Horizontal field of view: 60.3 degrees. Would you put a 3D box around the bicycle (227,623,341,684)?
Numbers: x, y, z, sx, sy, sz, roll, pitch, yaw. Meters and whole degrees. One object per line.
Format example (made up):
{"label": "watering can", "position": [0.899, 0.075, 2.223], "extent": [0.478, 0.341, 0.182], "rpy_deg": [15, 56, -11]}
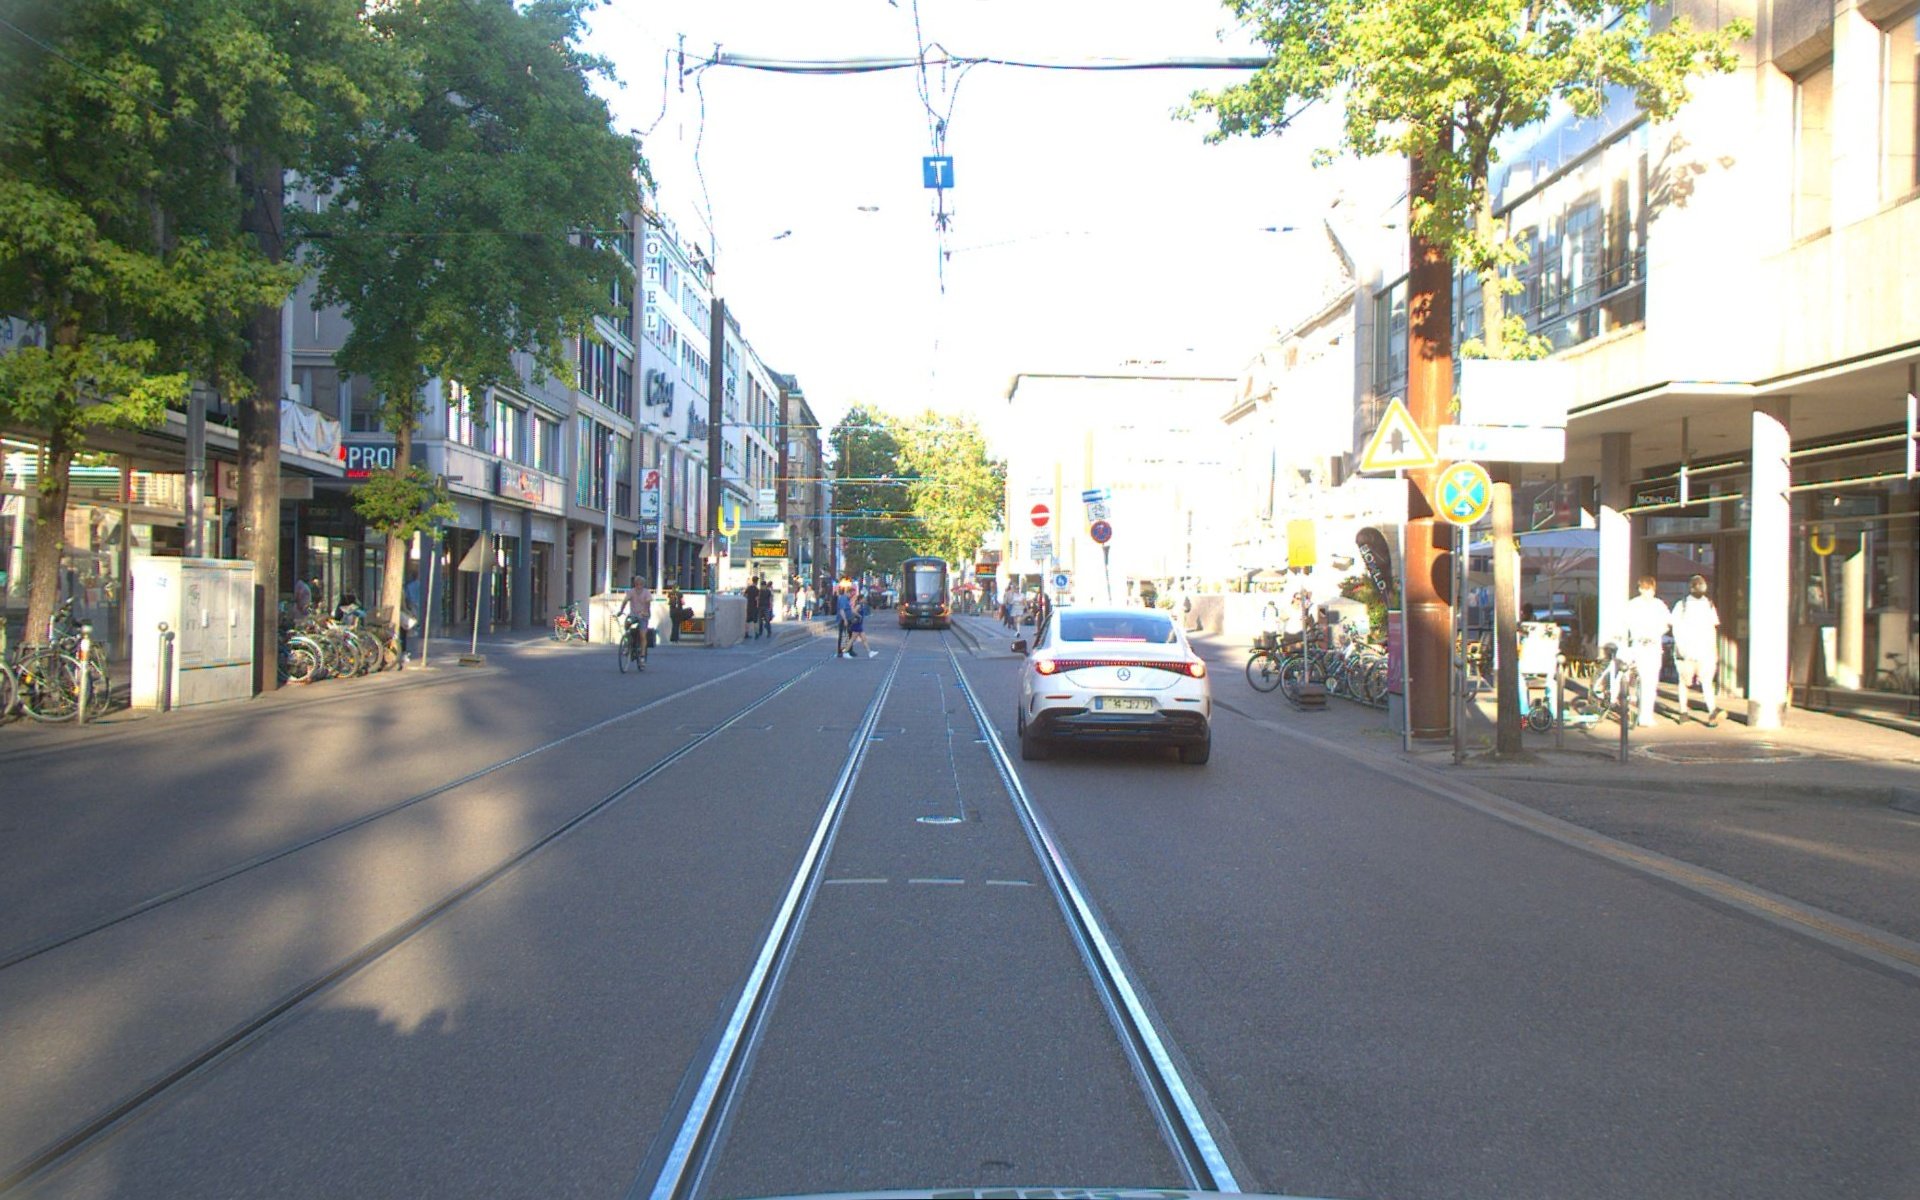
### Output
{"label": "bicycle", "position": [-9.628, 0.757, 23.572], "extent": [1.462, 0.797, 0.344], "rpy_deg": [2, 0, 0]}

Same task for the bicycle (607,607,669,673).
{"label": "bicycle", "position": [-6.118, 0.736, 31.568], "extent": [0.784, 1.162, 2.256], "rpy_deg": [2, 0, -3]}

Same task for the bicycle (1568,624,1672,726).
{"label": "bicycle", "position": [8.094, 0.891, 20.357], "extent": [0.553, 1.147, 1.930], "rpy_deg": [-1, 0, 2]}

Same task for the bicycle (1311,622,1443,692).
{"label": "bicycle", "position": [6.831, 0.922, 27.117], "extent": [2.078, 1.115, 0.607], "rpy_deg": [0, 0, -14]}

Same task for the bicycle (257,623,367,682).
{"label": "bicycle", "position": [-9.514, 0.764, 24.298], "extent": [1.462, 0.797, 0.344], "rpy_deg": [2, 0, 0]}

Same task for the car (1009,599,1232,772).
{"label": "car", "position": [1.495, 0.764, 16.851], "extent": [1.819, 1.481, 4.175], "rpy_deg": [2, 0, 0]}

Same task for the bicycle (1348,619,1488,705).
{"label": "bicycle", "position": [6.634, 0.881, 23.963], "extent": [1.875, 1.177, 0.608], "rpy_deg": [-1, 0, -13]}

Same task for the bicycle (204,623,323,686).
{"label": "bicycle", "position": [-9.621, 0.752, 22.858], "extent": [1.462, 0.797, 0.344], "rpy_deg": [2, 0, 0]}

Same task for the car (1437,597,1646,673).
{"label": "car", "position": [11.947, 0.709, 34.104], "extent": [3.728, 1.499, 1.647], "rpy_deg": [0, 0, -7]}

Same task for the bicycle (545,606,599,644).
{"label": "bicycle", "position": [-11.065, 0.702, 47.223], "extent": [0.703, 1.027, 2.041], "rpy_deg": [1, 0, 12]}

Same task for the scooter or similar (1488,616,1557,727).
{"label": "scooter or similar", "position": [6.825, 0.856, 20.085], "extent": [0.518, 1.299, 0.658], "rpy_deg": [-1, 0, -12]}

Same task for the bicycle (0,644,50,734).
{"label": "bicycle", "position": [-9.258, 0.803, 15.290], "extent": [1.462, 0.797, 0.344], "rpy_deg": [2, 0, 0]}

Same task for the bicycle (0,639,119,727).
{"label": "bicycle", "position": [-8.962, 0.793, 15.991], "extent": [1.462, 0.797, 0.344], "rpy_deg": [2, 0, 0]}

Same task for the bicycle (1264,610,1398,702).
{"label": "bicycle", "position": [5.555, 0.827, 24.768], "extent": [1.875, 1.303, 0.608], "rpy_deg": [-1, 0, -13]}

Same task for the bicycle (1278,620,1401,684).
{"label": "bicycle", "position": [6.715, 0.913, 29.313], "extent": [2.077, 1.115, 0.608], "rpy_deg": [0, 0, -13]}

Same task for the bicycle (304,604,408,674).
{"label": "bicycle", "position": [-9.511, 0.620, 26.065], "extent": [1.466, 1.047, 0.344], "rpy_deg": [2, 0, -12]}

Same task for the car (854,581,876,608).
{"label": "car", "position": [-8.849, -0.495, 154.213], "extent": [1.871, 2.504, 5.274], "rpy_deg": [0, 0, -1]}

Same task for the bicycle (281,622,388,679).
{"label": "bicycle", "position": [-9.465, 0.760, 25.028], "extent": [1.462, 0.797, 0.344], "rpy_deg": [2, 0, 0]}

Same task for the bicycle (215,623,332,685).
{"label": "bicycle", "position": [-9.626, 0.757, 23.213], "extent": [1.462, 0.797, 0.344], "rpy_deg": [2, 0, 0]}

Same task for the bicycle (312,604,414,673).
{"label": "bicycle", "position": [-9.529, 0.620, 26.439], "extent": [1.466, 1.047, 0.344], "rpy_deg": [2, 0, -12]}

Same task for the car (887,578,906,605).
{"label": "car", "position": [-7.152, -0.978, 186.305], "extent": [2.056, 2.948, 5.274], "rpy_deg": [0, 0, -1]}

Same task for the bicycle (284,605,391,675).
{"label": "bicycle", "position": [-9.632, 0.622, 25.623], "extent": [1.466, 1.027, 0.344], "rpy_deg": [2, 0, -12]}

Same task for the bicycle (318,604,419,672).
{"label": "bicycle", "position": [-9.582, 0.621, 26.810], "extent": [1.466, 1.047, 0.344], "rpy_deg": [2, 0, -12]}

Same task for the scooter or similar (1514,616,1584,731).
{"label": "scooter or similar", "position": [6.897, 0.850, 19.378], "extent": [0.483, 1.299, 0.658], "rpy_deg": [-1, 0, -12]}

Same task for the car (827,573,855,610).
{"label": "car", "position": [-9.752, -0.666, 135.403], "extent": [1.953, 2.948, 5.274], "rpy_deg": [0, 0, -1]}

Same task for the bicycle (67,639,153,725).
{"label": "bicycle", "position": [-8.722, 0.827, 17.004], "extent": [0.337, 0.797, 1.402], "rpy_deg": [2, 0, -9]}

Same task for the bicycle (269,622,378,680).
{"label": "bicycle", "position": [-9.489, 0.758, 24.668], "extent": [1.462, 0.797, 0.344], "rpy_deg": [2, 0, 0]}

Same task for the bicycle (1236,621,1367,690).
{"label": "bicycle", "position": [5.727, 0.935, 27.757], "extent": [2.077, 1.115, 0.608], "rpy_deg": [1, -1, -13]}

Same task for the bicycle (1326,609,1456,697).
{"label": "bicycle", "position": [6.689, 0.804, 25.702], "extent": [1.875, 1.303, 0.608], "rpy_deg": [-1, 0, -13]}

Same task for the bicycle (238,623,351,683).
{"label": "bicycle", "position": [-9.627, 0.764, 23.932], "extent": [1.462, 0.797, 0.344], "rpy_deg": [2, 0, 0]}

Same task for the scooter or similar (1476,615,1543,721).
{"label": "scooter or similar", "position": [6.906, 0.842, 20.787], "extent": [0.518, 1.299, 0.658], "rpy_deg": [-1, 0, -12]}

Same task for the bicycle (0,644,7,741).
{"label": "bicycle", "position": [-9.247, 0.796, 14.570], "extent": [1.462, 0.855, 0.344], "rpy_deg": [2, 0, 0]}
